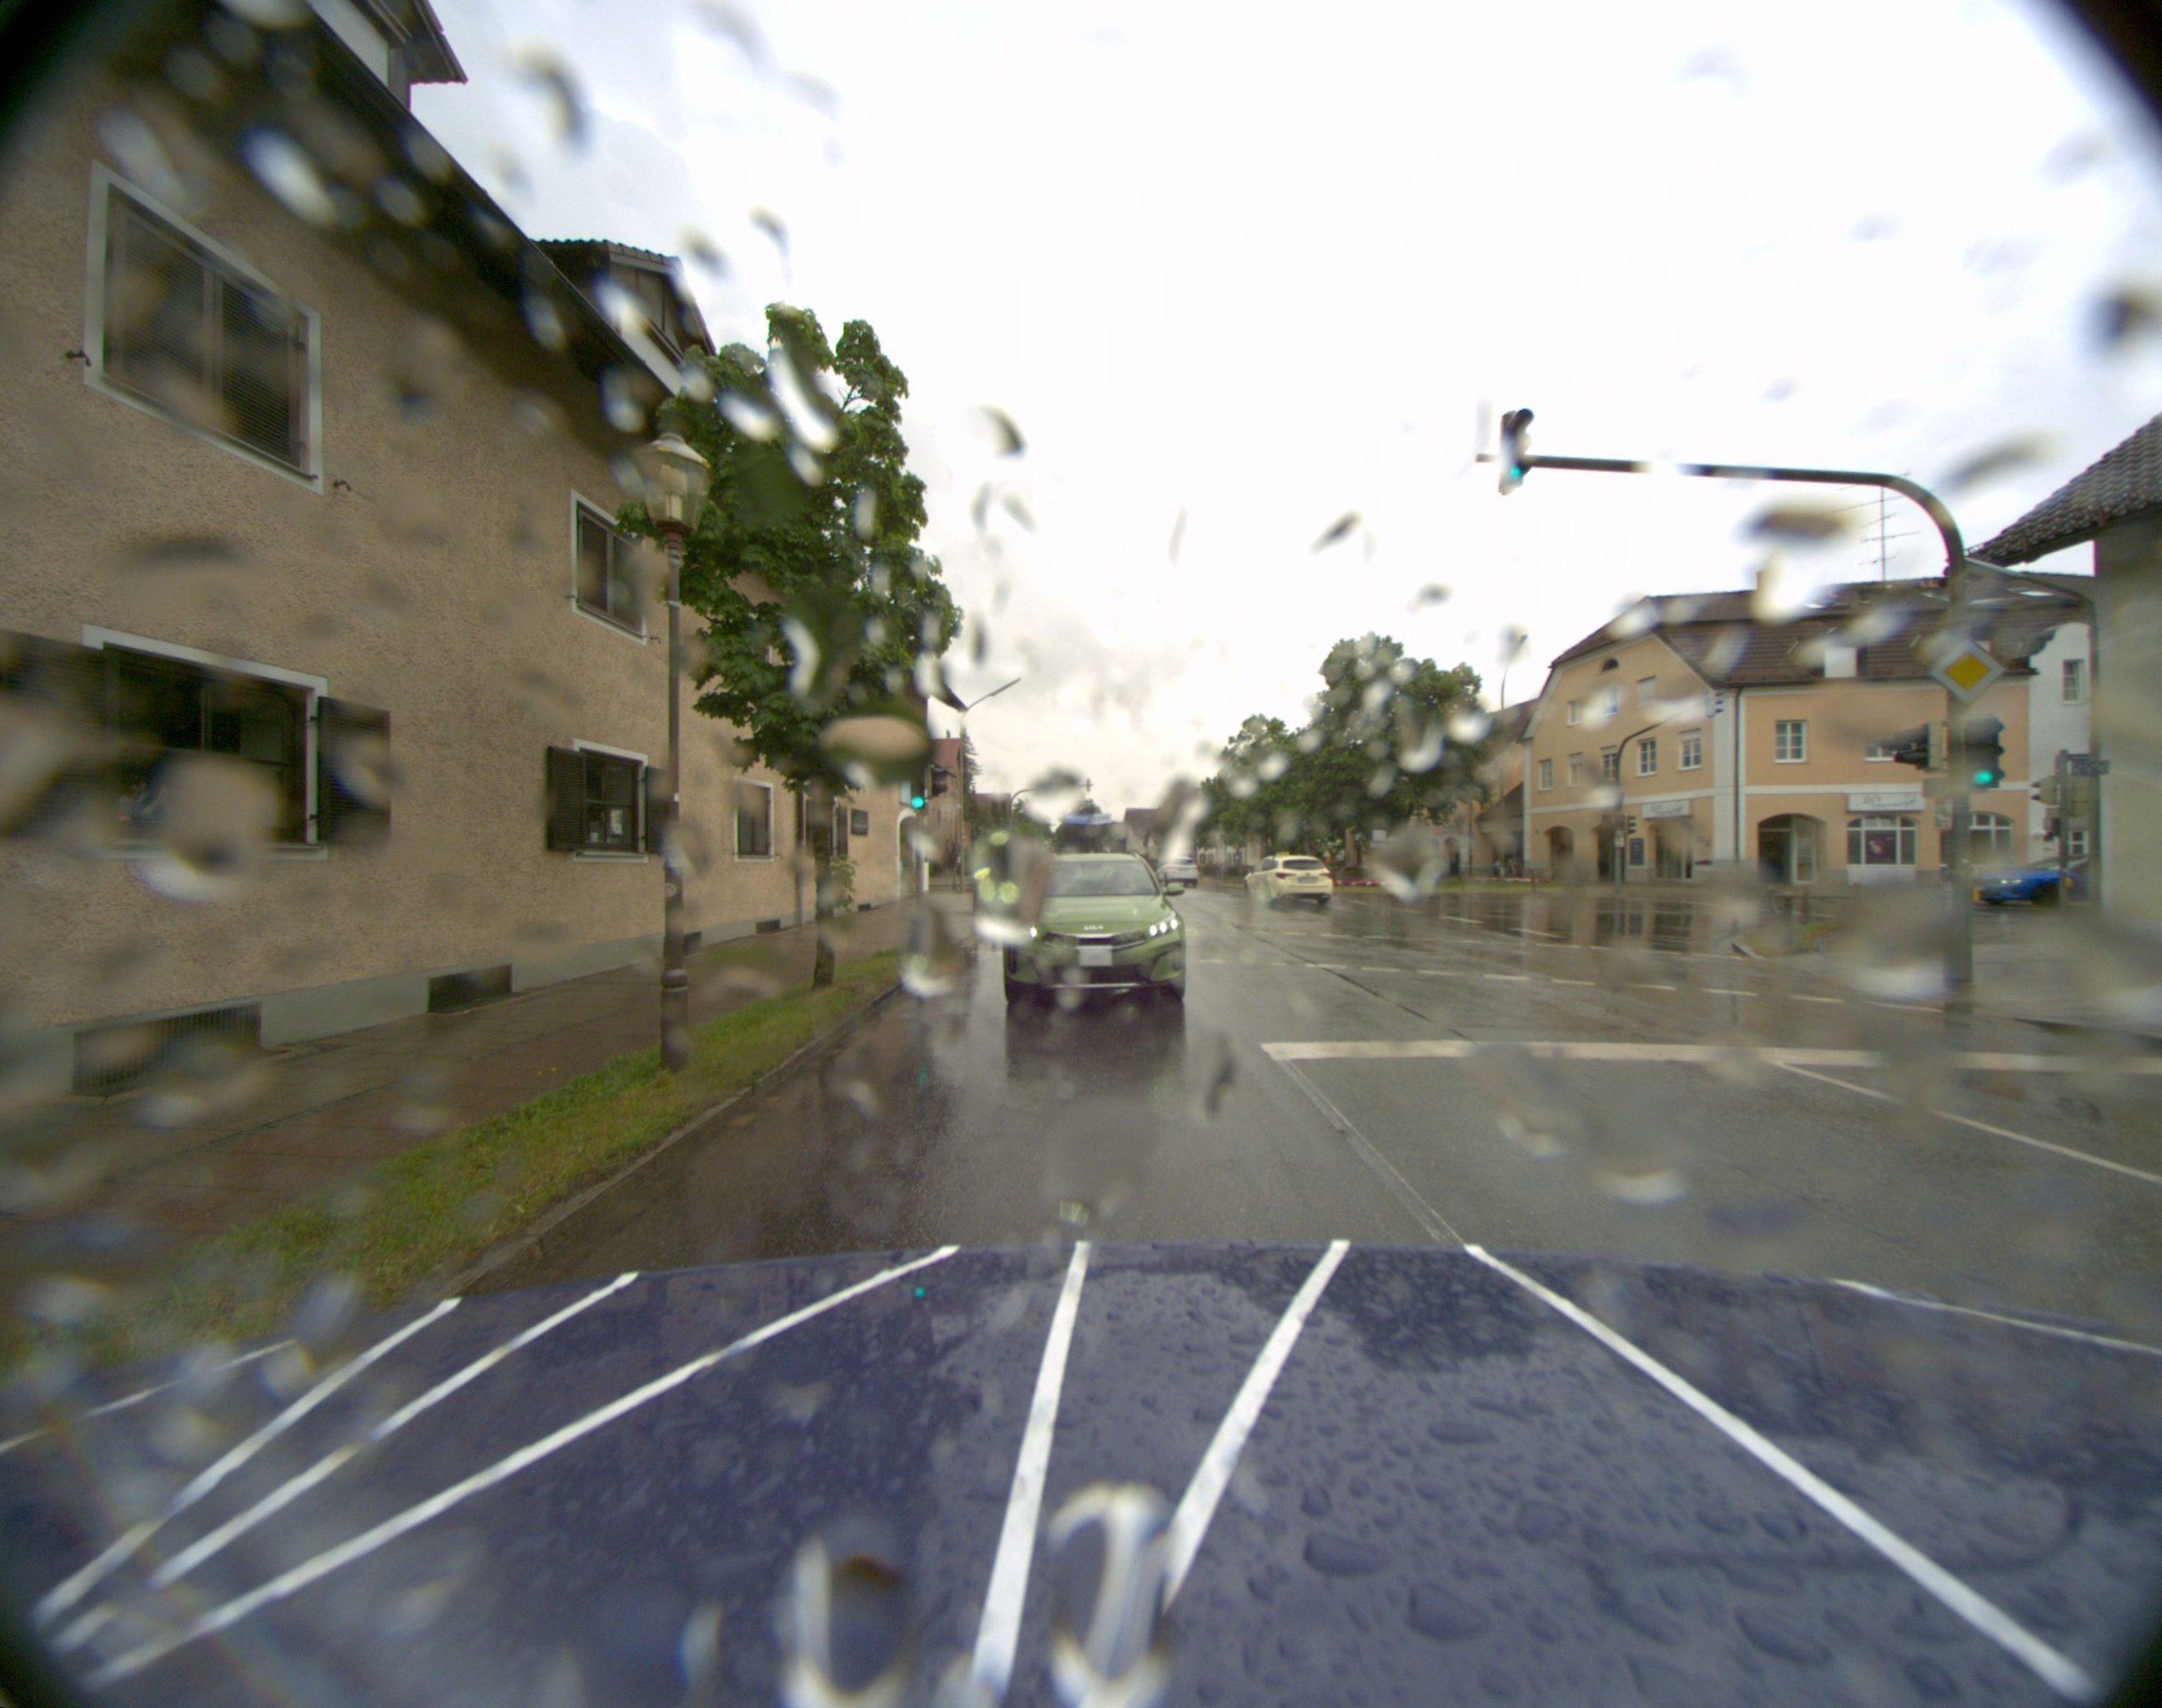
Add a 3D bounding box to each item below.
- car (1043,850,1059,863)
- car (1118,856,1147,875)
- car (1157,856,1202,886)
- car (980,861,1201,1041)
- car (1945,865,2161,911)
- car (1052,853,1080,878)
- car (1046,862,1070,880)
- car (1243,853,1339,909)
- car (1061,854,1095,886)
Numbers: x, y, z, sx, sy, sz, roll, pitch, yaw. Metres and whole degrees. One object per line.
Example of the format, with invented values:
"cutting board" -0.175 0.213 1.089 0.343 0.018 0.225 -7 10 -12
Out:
"car" -4.478 0.345 112.642 2.218 1.977 4.952 1 0 -5
"car" 4.293 0.940 63.565 1.972 1.554 4.150 0 0 -3
"car" 5.508 0.935 42.850 1.931 1.557 4.125 0 0 -1
"car" 0.119 0.862 8.645 1.872 1.504 4.105 -2 0 1
"car" 27.236 0.902 20.904 4.352 1.178 1.691 0 0 15
"car" -0.995 0.752 52.943 1.856 1.655 4.035 0 0 0
"car" -1.977 1.464 66.747 1.839 1.508 4.669 1 0 1
"car" 6.287 0.750 23.229 1.756 1.502 4.230 1 0 0
"car" -0.116 0.783 39.164 1.637 1.508 4.000 1 0 1
